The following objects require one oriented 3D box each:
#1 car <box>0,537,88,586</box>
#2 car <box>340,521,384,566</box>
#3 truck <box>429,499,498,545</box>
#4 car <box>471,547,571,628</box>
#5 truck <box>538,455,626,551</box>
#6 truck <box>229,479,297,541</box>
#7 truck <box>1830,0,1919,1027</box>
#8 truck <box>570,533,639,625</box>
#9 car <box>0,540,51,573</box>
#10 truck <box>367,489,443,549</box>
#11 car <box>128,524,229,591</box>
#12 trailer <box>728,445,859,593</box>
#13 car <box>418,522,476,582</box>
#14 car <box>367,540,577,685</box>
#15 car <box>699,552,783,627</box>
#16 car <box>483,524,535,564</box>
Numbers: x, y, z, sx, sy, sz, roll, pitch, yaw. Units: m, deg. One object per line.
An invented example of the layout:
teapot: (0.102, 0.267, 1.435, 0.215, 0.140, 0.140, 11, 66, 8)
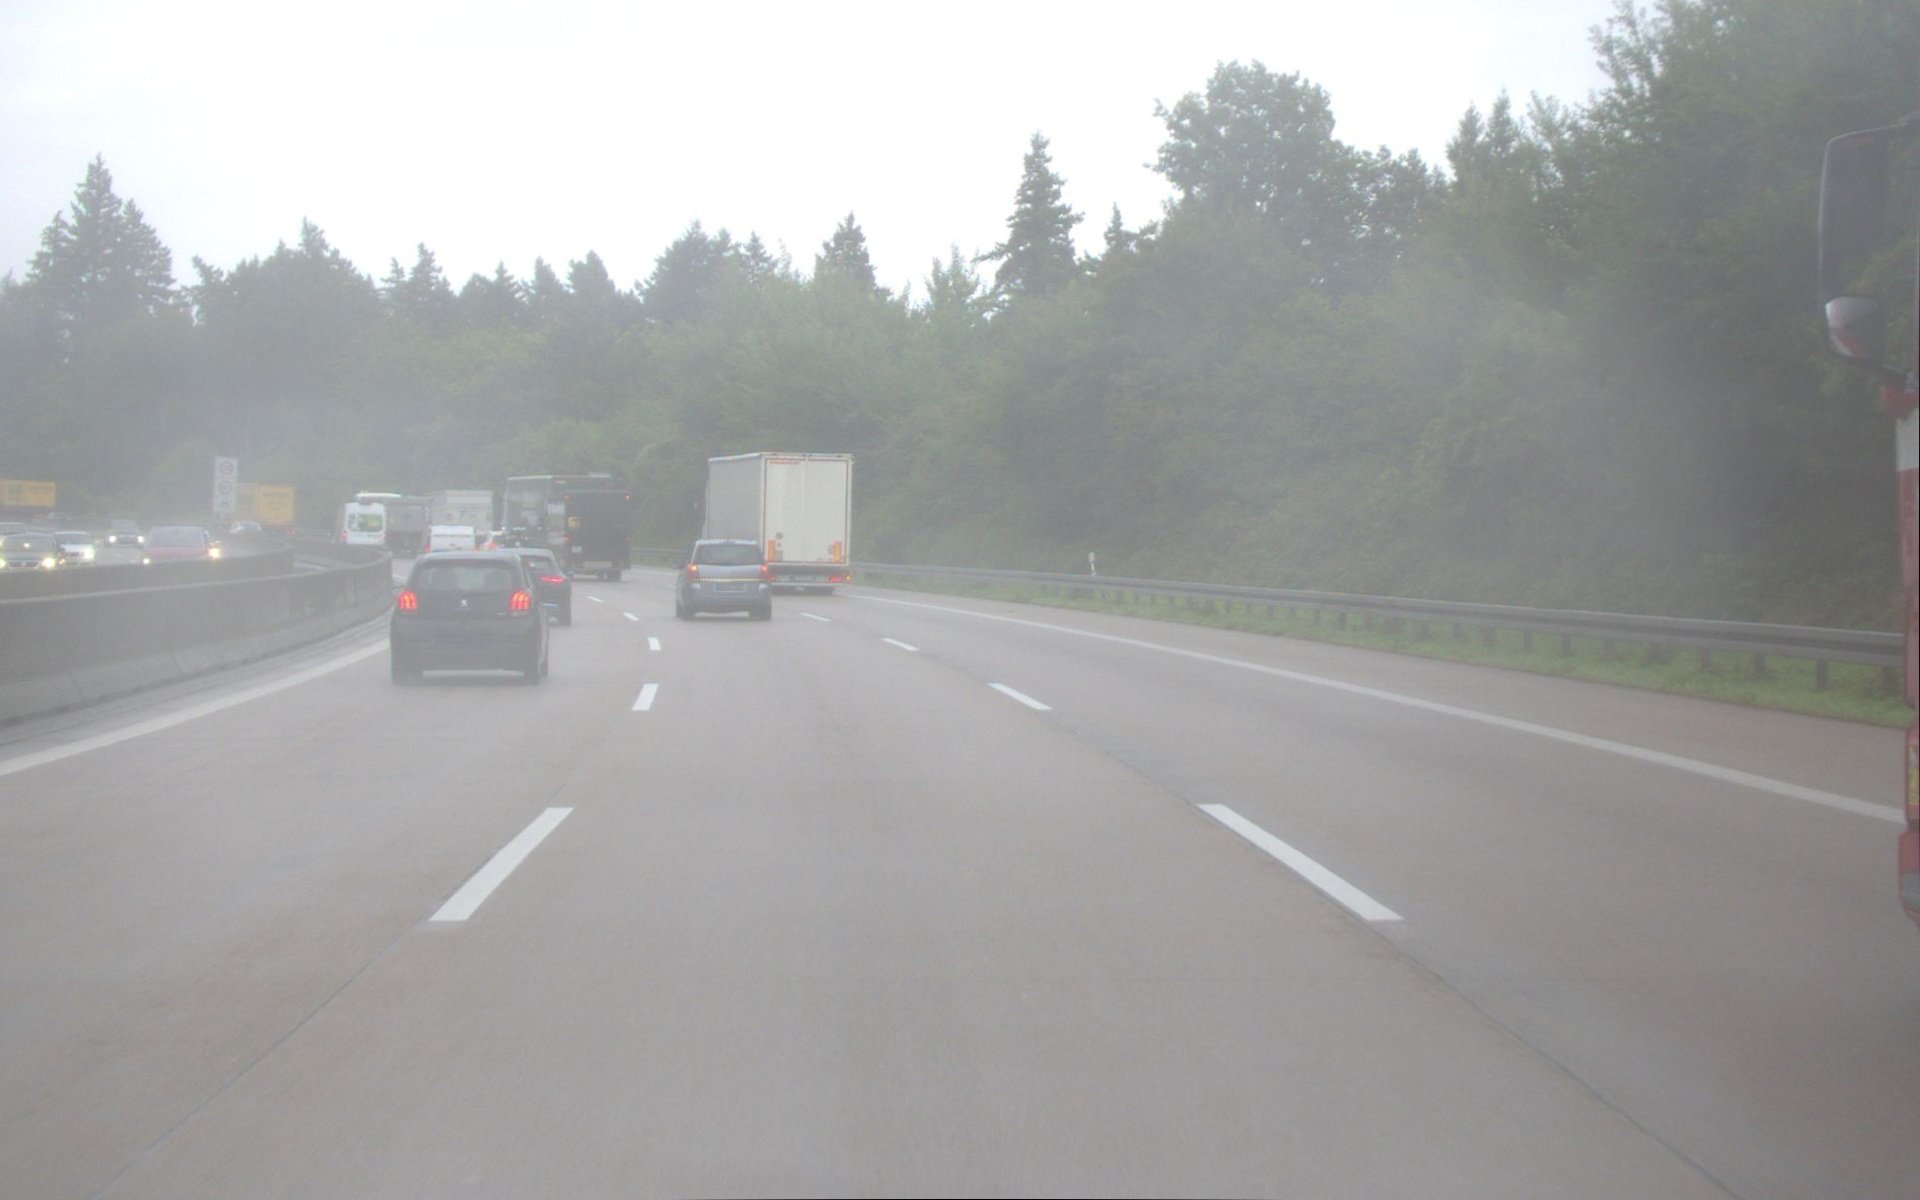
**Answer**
car: (-25.277, -1.075, 94.362, 1.993, 1.289, 4.298, 0, 1, -6)
car: (-28.143, -2.648, 161.694, 1.993, 2.052, 4.001, 0, 1, -11)
truck: (-26.926, -4.254, 186.168, 2.973, 2.301, 6.669, 3, 1, -14)
car: (-8.021, -0.252, 63.060, 1.553, 1.347, 3.684, 3, 1, -4)
truck: (-17.103, -4.381, 154.900, 3.368, 4.117, 10.441, 1, 2, -9)
truck: (-48.607, -6.245, 239.672, 3.739, 4.195, 6.820, 0, 1, -19)
truck: (4.199, -0.593, 8.709, 2.375, 3.940, 6.160, 0, 1, 0)
truck: (-12.482, -0.784, 120.625, 2.269, 2.877, 7.905, 1, 2, -6)
car: (-42.434, -1.986, 156.175, 1.730, 1.488, 4.001, 0, 1, -8)
truck: (-28.605, -4.202, 177.015, 3.081, 2.895, 7.906, 1, 2, -14)
car: (-20.950, -1.154, 92.318, 1.993, 1.762, 4.538, 0, 1, -4)
trailer: (-5.026, -2.421, 101.252, 2.419, 4.054, 12.058, 1, 2, -9)
car: (-17.435, -1.643, 116.925, 1.725, 2.007, 3.657, 0, 1, -5)
car: (-5.393, 0.103, 38.367, 1.684, 1.457, 3.684, 3, 1, 1)
car: (-4.385, -0.219, 68.550, 1.553, 1.347, 3.684, 3, 1, -5)
car: (-17.863, -2.228, 136.314, 1.881, 1.468, 4.001, 3, 1, -6)
